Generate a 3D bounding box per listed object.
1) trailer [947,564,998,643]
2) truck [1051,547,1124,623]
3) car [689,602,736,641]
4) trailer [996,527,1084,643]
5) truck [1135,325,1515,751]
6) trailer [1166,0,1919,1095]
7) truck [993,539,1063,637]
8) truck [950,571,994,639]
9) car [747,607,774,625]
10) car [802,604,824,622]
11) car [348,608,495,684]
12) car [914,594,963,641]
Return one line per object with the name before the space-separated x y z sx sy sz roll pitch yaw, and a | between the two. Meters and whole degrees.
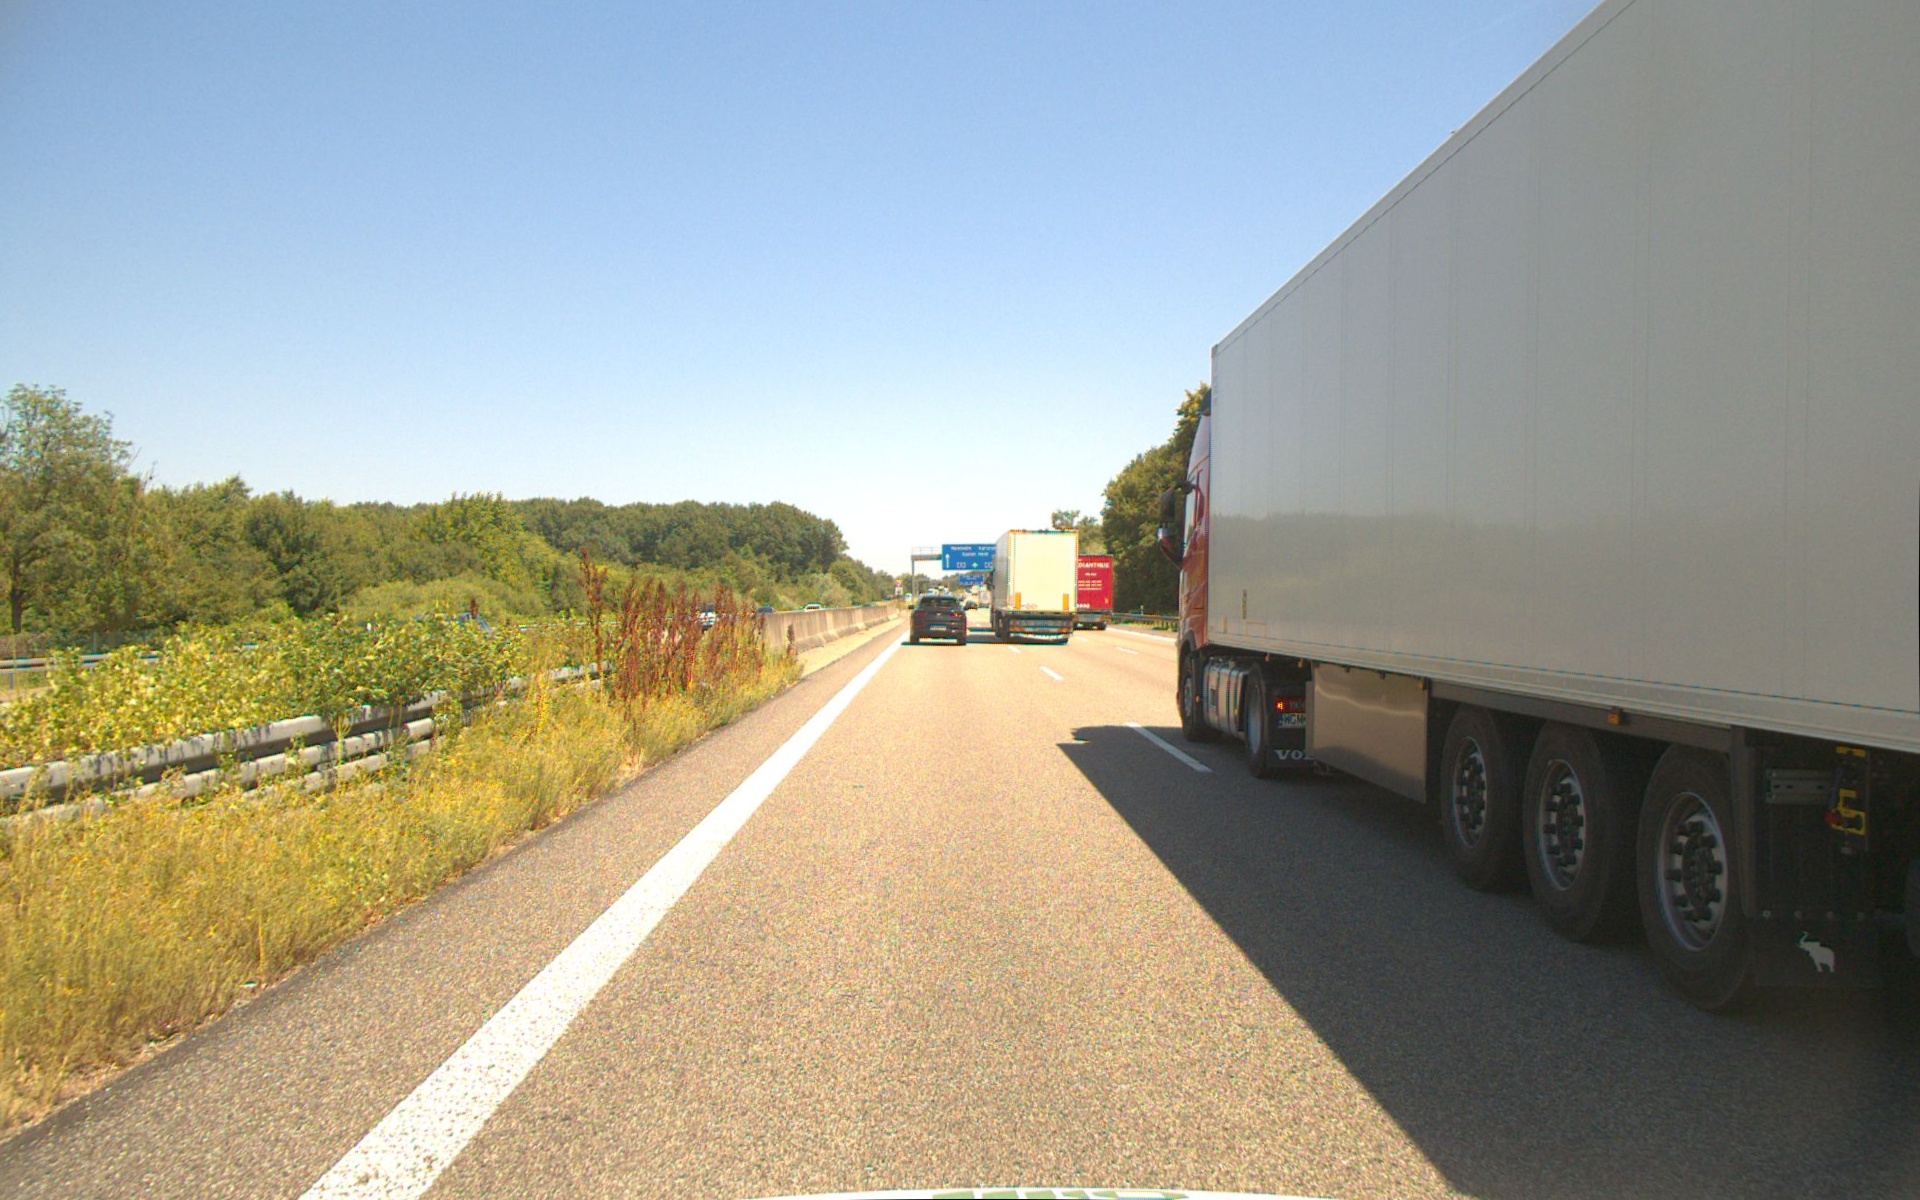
trailer | 0.687 0.242 95.132 2.652 4.139 14.745 1 -1 0
truck | 7.365 -0.806 97.648 2.993 4.178 13.215 1 0 -1
car | -14.114 1.200 94.527 1.953 2.049 4.938 -2 0 -1
trailer | 2.974 -0.536 65.166 2.738 4.106 12.566 1 0 0
truck | 3.847 -0.588 19.011 2.881 4.055 6.100 1 0 -1
trailer | 4.012 -0.635 11.247 2.878 4.088 16.196 1 0 -1
truck | 2.911 -0.517 72.225 2.742 4.077 6.020 1 0 0
truck | 0.731 0.328 104.501 2.645 4.166 6.453 1 -1 0
car | -18.622 1.504 154.596 1.869 1.504 4.824 -2 0 -1
car | -14.294 1.261 160.894 1.738 1.565 4.683 -2 0 -1
car | -11.728 0.959 36.333 1.718 1.463 4.543 -3 0 -1
car | -0.750 0.582 57.613 1.626 1.576 3.782 0 0 -1
